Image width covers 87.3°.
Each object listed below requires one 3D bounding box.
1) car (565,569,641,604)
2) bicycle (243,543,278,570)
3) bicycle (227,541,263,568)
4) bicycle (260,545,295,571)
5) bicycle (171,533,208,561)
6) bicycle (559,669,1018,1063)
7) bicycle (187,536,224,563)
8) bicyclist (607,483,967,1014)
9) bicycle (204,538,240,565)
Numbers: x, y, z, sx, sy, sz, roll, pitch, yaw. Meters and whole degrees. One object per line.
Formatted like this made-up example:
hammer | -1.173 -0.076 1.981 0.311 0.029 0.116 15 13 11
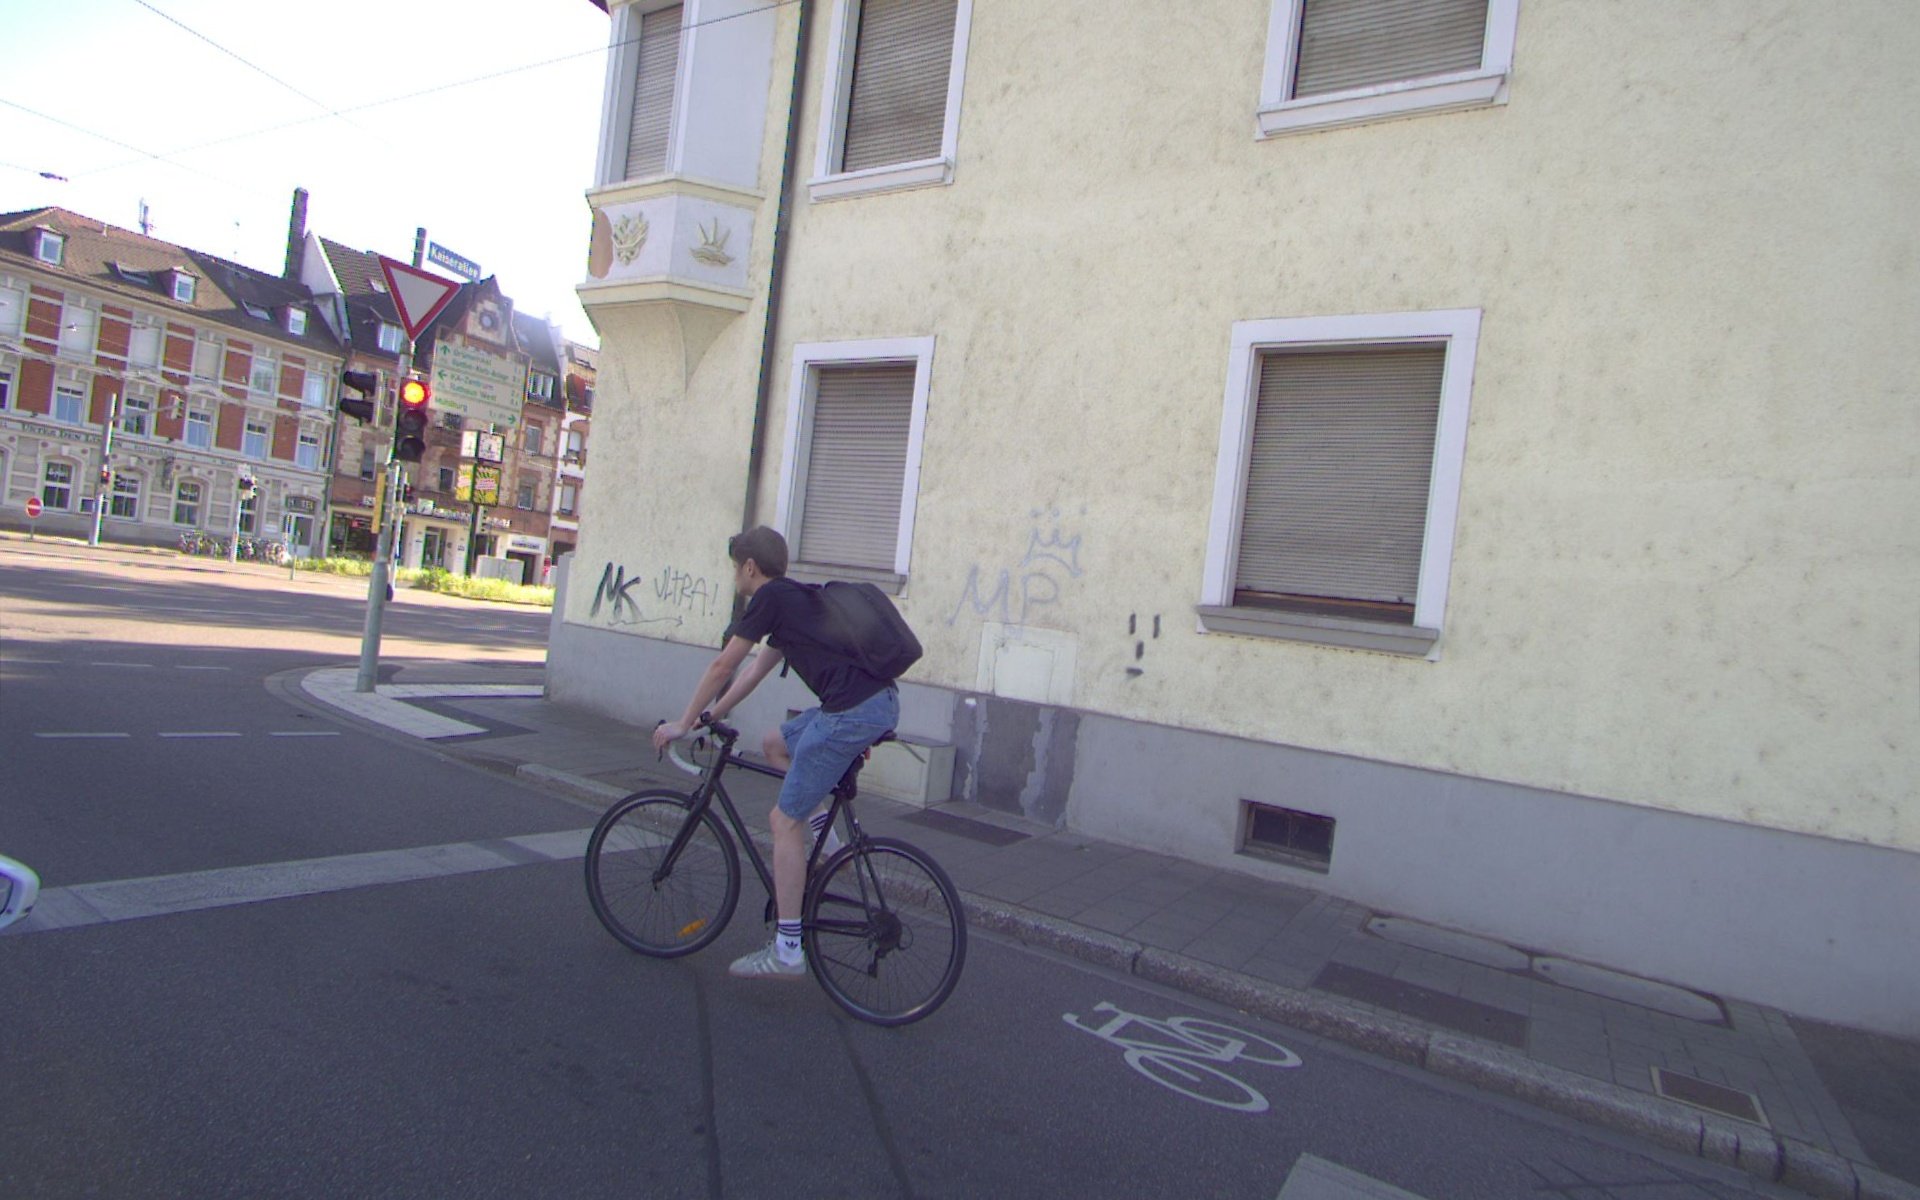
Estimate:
car | -23.120 -0.861 65.304 1.966 1.674 4.378 7 -1 29
bicycle | -33.353 -2.086 47.947 1.614 1.064 0.606 7 0 27
bicycle | -33.647 -2.149 47.337 1.614 1.064 0.606 7 0 27
bicycle | -32.978 -2.011 48.584 1.614 1.064 0.606 7 0 27
bicycle | -34.943 -2.389 45.608 1.614 1.064 0.606 7 0 27
bicycle | -0.714 0.901 3.886 1.729 1.029 0.532 7 0 32
bicycle | -34.643 -2.327 46.191 1.614 1.064 0.606 7 0 27
bicyclist | -0.674 0.489 3.885 1.066 1.751 0.561 6 -1 32
bicycle | -34.313 -2.260 46.766 1.614 1.064 0.606 7 0 27
